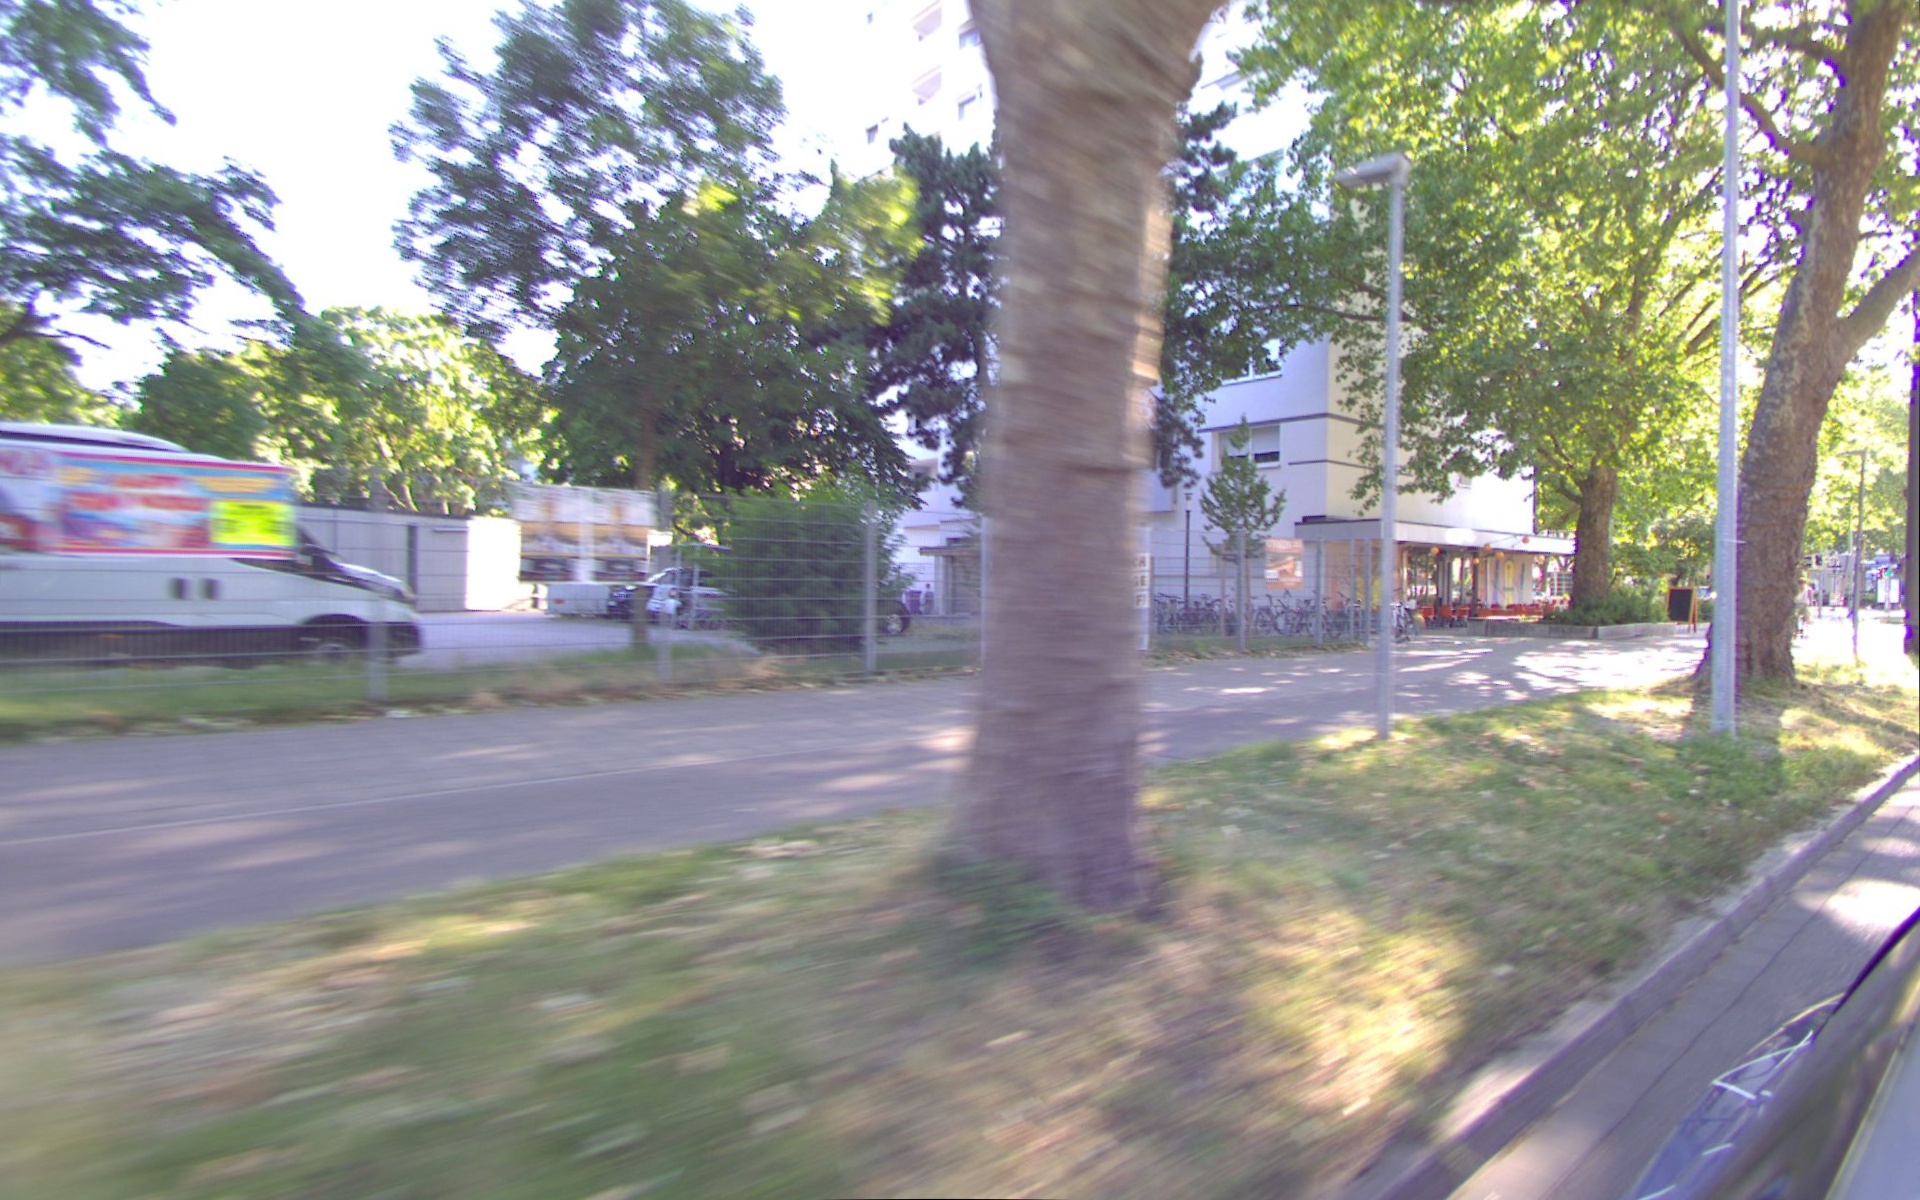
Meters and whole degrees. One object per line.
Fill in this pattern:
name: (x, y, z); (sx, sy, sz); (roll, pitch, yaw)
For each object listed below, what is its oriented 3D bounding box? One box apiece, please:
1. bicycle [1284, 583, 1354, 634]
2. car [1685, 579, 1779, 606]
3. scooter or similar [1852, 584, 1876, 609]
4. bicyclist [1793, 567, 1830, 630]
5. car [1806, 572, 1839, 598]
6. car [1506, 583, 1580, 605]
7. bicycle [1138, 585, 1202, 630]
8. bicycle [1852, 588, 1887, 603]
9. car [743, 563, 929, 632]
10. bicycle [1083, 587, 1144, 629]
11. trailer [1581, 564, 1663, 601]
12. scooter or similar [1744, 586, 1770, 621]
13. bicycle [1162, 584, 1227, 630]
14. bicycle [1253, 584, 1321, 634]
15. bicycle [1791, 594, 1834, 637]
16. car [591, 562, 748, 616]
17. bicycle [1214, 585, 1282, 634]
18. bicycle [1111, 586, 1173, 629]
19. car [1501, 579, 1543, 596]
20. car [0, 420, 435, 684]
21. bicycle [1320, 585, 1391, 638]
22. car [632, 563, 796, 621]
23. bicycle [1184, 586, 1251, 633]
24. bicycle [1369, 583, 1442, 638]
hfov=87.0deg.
bicycle: (8.697, 0.195, 24.492); (1.789, 1.192, 0.790); (-1, -1, -41)
car: (49.895, -0.474, 65.528); (4.537, 1.661, 1.917); (-1, -1, 28)
scooter or similar: (46.498, -0.188, 52.050); (1.265, 1.273, 0.563); (-1, 2, -33)
bicyclist: (21.704, -0.042, 25.794); (0.845, 1.570, 0.604); (0, 1, -42)
car: (94.809, -1.629, 111.245); (4.631, 2.777, 1.997); (-1, -1, -40)
car: (40.576, -0.402, 70.550); (4.396, 1.378, 1.917); (-1, 0, 28)
bicycle: (5.800, 0.188, 27.893); (1.789, 1.192, 0.790); (-1, -1, -41)
bicycle: (66.756, -0.312, 74.297); (1.804, 1.067, 0.531); (0, 0, 24)
car: (-2.852, -0.060, 23.704); (3.935, 1.471, 1.994); (-1, 0, -44)
bicycle: (4.467, 0.218, 29.430); (1.789, 1.192, 0.790); (-1, -1, -41)
trailer: (44.637, -1.165, 68.349); (4.474, 2.403, 1.895); (1, 0, 28)
scooter or similar: (29.818, 0.128, 37.861); (1.269, 1.273, 0.561); (-1, 3, -45)
bicycle: (6.323, 0.179, 27.230); (1.789, 1.192, 0.790); (-1, -1, -41)
bicycle: (8.140, 0.208, 25.180); (1.789, 1.192, 0.790); (-1, -1, -41)
bicycle: (21.826, 0.384, 25.911); (1.736, 1.039, 0.604); (-1, 1, -42)
car: (-8.420, -0.305, 29.492); (3.935, 1.471, 1.994); (-1, 0, -44)
bicycle: (7.333, 0.225, 25.743); (1.789, 1.192, 0.790); (-1, -1, -41)
bicycle: (5.167, 0.203, 28.670); (1.789, 1.192, 0.790); (-1, -1, -41)
car: (68.809, -1.500, 123.863); (2.011, 1.941, 3.994); (-1, -1, -40)
car: (-9.315, -0.455, 10.897); (6.232, 2.531, 1.998); (-1, -1, -39)
bicycle: (9.282, 0.257, 23.736); (1.789, 1.192, 0.790); (-1, -1, -41)
car: (-6.711, -0.208, 27.818); (3.935, 1.471, 1.994); (-1, 0, -44)
bicycle: (6.753, 0.238, 26.498); (1.789, 1.192, 0.790); (-1, -1, -41)
bicycle: (9.985, 0.216, 22.658); (1.789, 1.192, 0.790); (-1, -1, -41)
